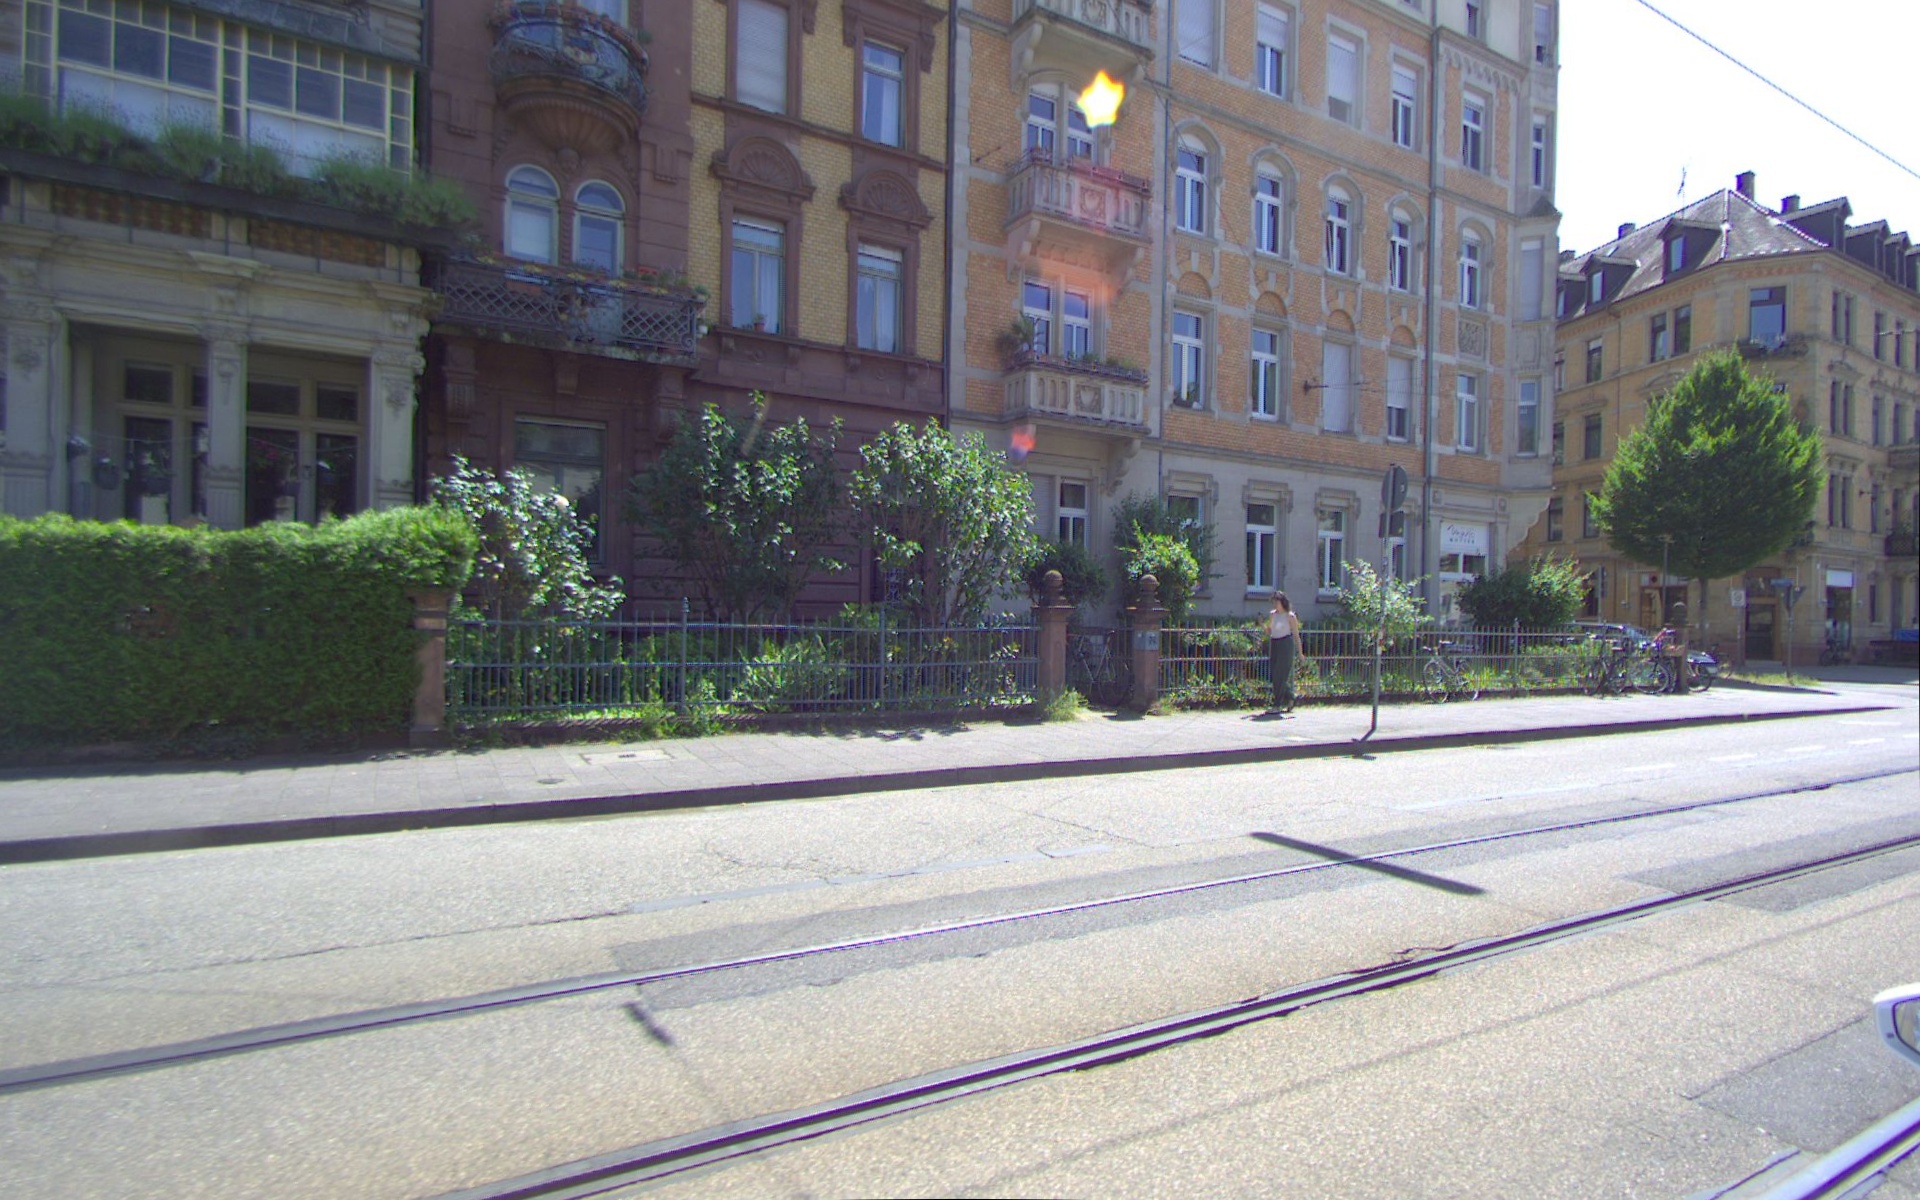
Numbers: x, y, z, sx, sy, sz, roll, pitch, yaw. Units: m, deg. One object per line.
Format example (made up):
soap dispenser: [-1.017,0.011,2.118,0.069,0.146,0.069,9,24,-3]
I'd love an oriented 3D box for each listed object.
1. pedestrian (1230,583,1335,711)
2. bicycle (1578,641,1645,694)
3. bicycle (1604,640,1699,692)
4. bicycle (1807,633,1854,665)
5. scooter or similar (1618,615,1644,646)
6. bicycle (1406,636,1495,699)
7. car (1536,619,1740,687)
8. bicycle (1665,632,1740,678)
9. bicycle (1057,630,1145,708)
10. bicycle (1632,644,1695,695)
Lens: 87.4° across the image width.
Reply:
pedestrian: [4.663,0.659,14.563,1.125,1.746,0.847,1,2,-30]
bicycle: [12.807,1.304,19.730,1.692,0.996,0.436,1,0,-32]
bicycle: [15.296,1.431,22.270,0.544,1.050,1.700,1,-1,-25]
bicycle: [33.428,1.875,38.580,2.117,1.203,0.636,1,-1,-27]
scooter or similar: [28.905,1.313,43.278,0.486,1.290,1.283,0,-1,11]
bicycle: [8.403,1.133,17.196,1.692,1.000,0.493,1,3,-32]
car: [16.352,1.247,24.399,1.693,1.447,3.743,3,-1,-29]
bicycle: [21.459,1.585,29.035,1.814,1.244,0.502,3,-1,-2]
bicycle: [2.059,0.991,14.826,0.489,1.057,1.504,1,-1,-28]
bicycle: [14.545,1.412,20.750,1.692,0.996,0.436,1,0,-32]
